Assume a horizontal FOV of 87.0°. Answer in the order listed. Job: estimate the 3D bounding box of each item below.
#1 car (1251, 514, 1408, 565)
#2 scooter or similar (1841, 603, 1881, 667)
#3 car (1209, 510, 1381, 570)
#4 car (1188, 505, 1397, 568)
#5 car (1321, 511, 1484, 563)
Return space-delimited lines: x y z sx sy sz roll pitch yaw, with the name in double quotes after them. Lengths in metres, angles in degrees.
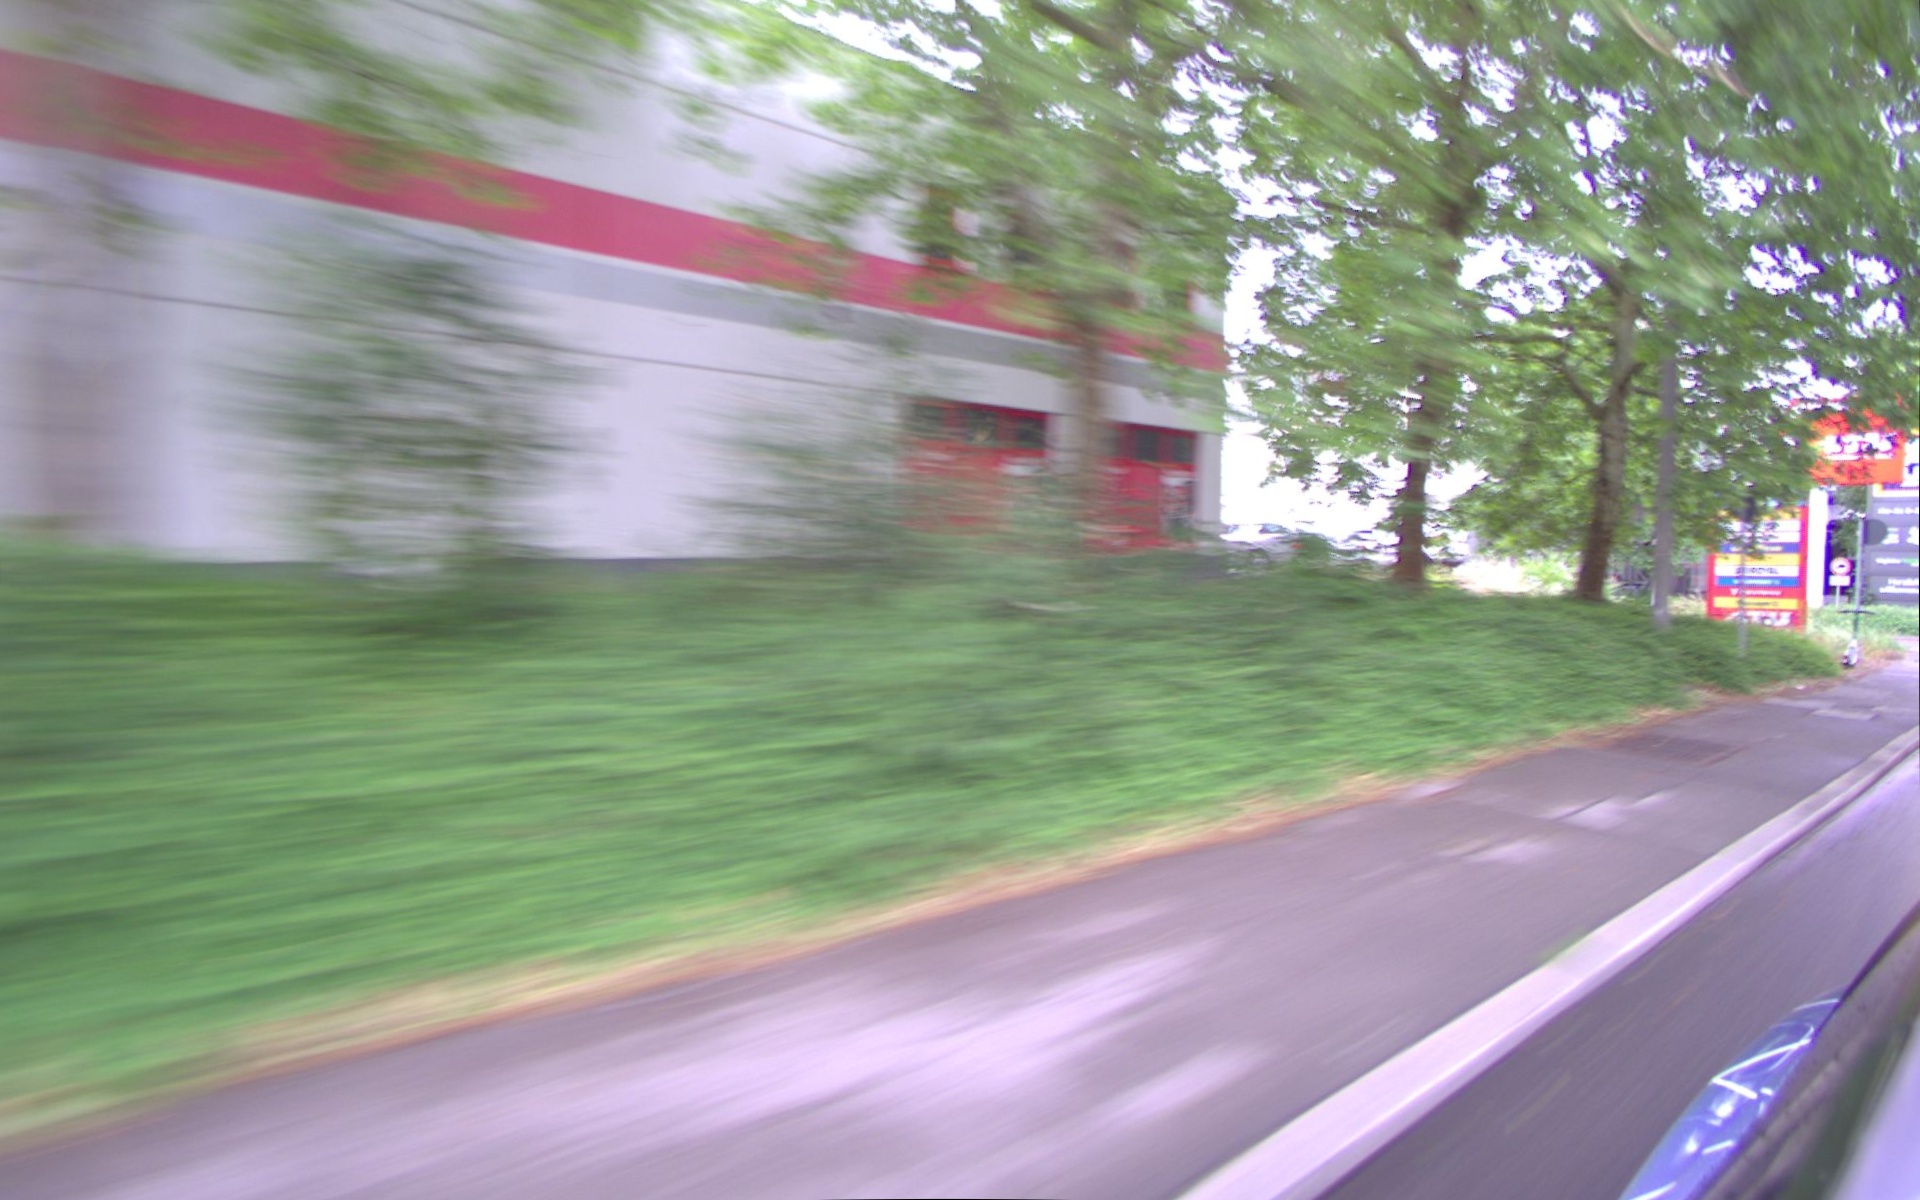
10.626 -1.708 29.305 1.800 1.309 3.927 -1 1 -40 "car"
17.750 0.668 19.924 1.504 1.156 0.426 -3 2 -43 "scooter or similar"
9.064 -1.613 27.657 1.850 1.485 4.111 0 2 -38 "car"
7.979 -1.493 24.684 1.769 1.350 4.620 0 2 -40 "car"
13.230 -1.827 30.455 1.870 1.393 4.108 -1 1 -41 "car"
